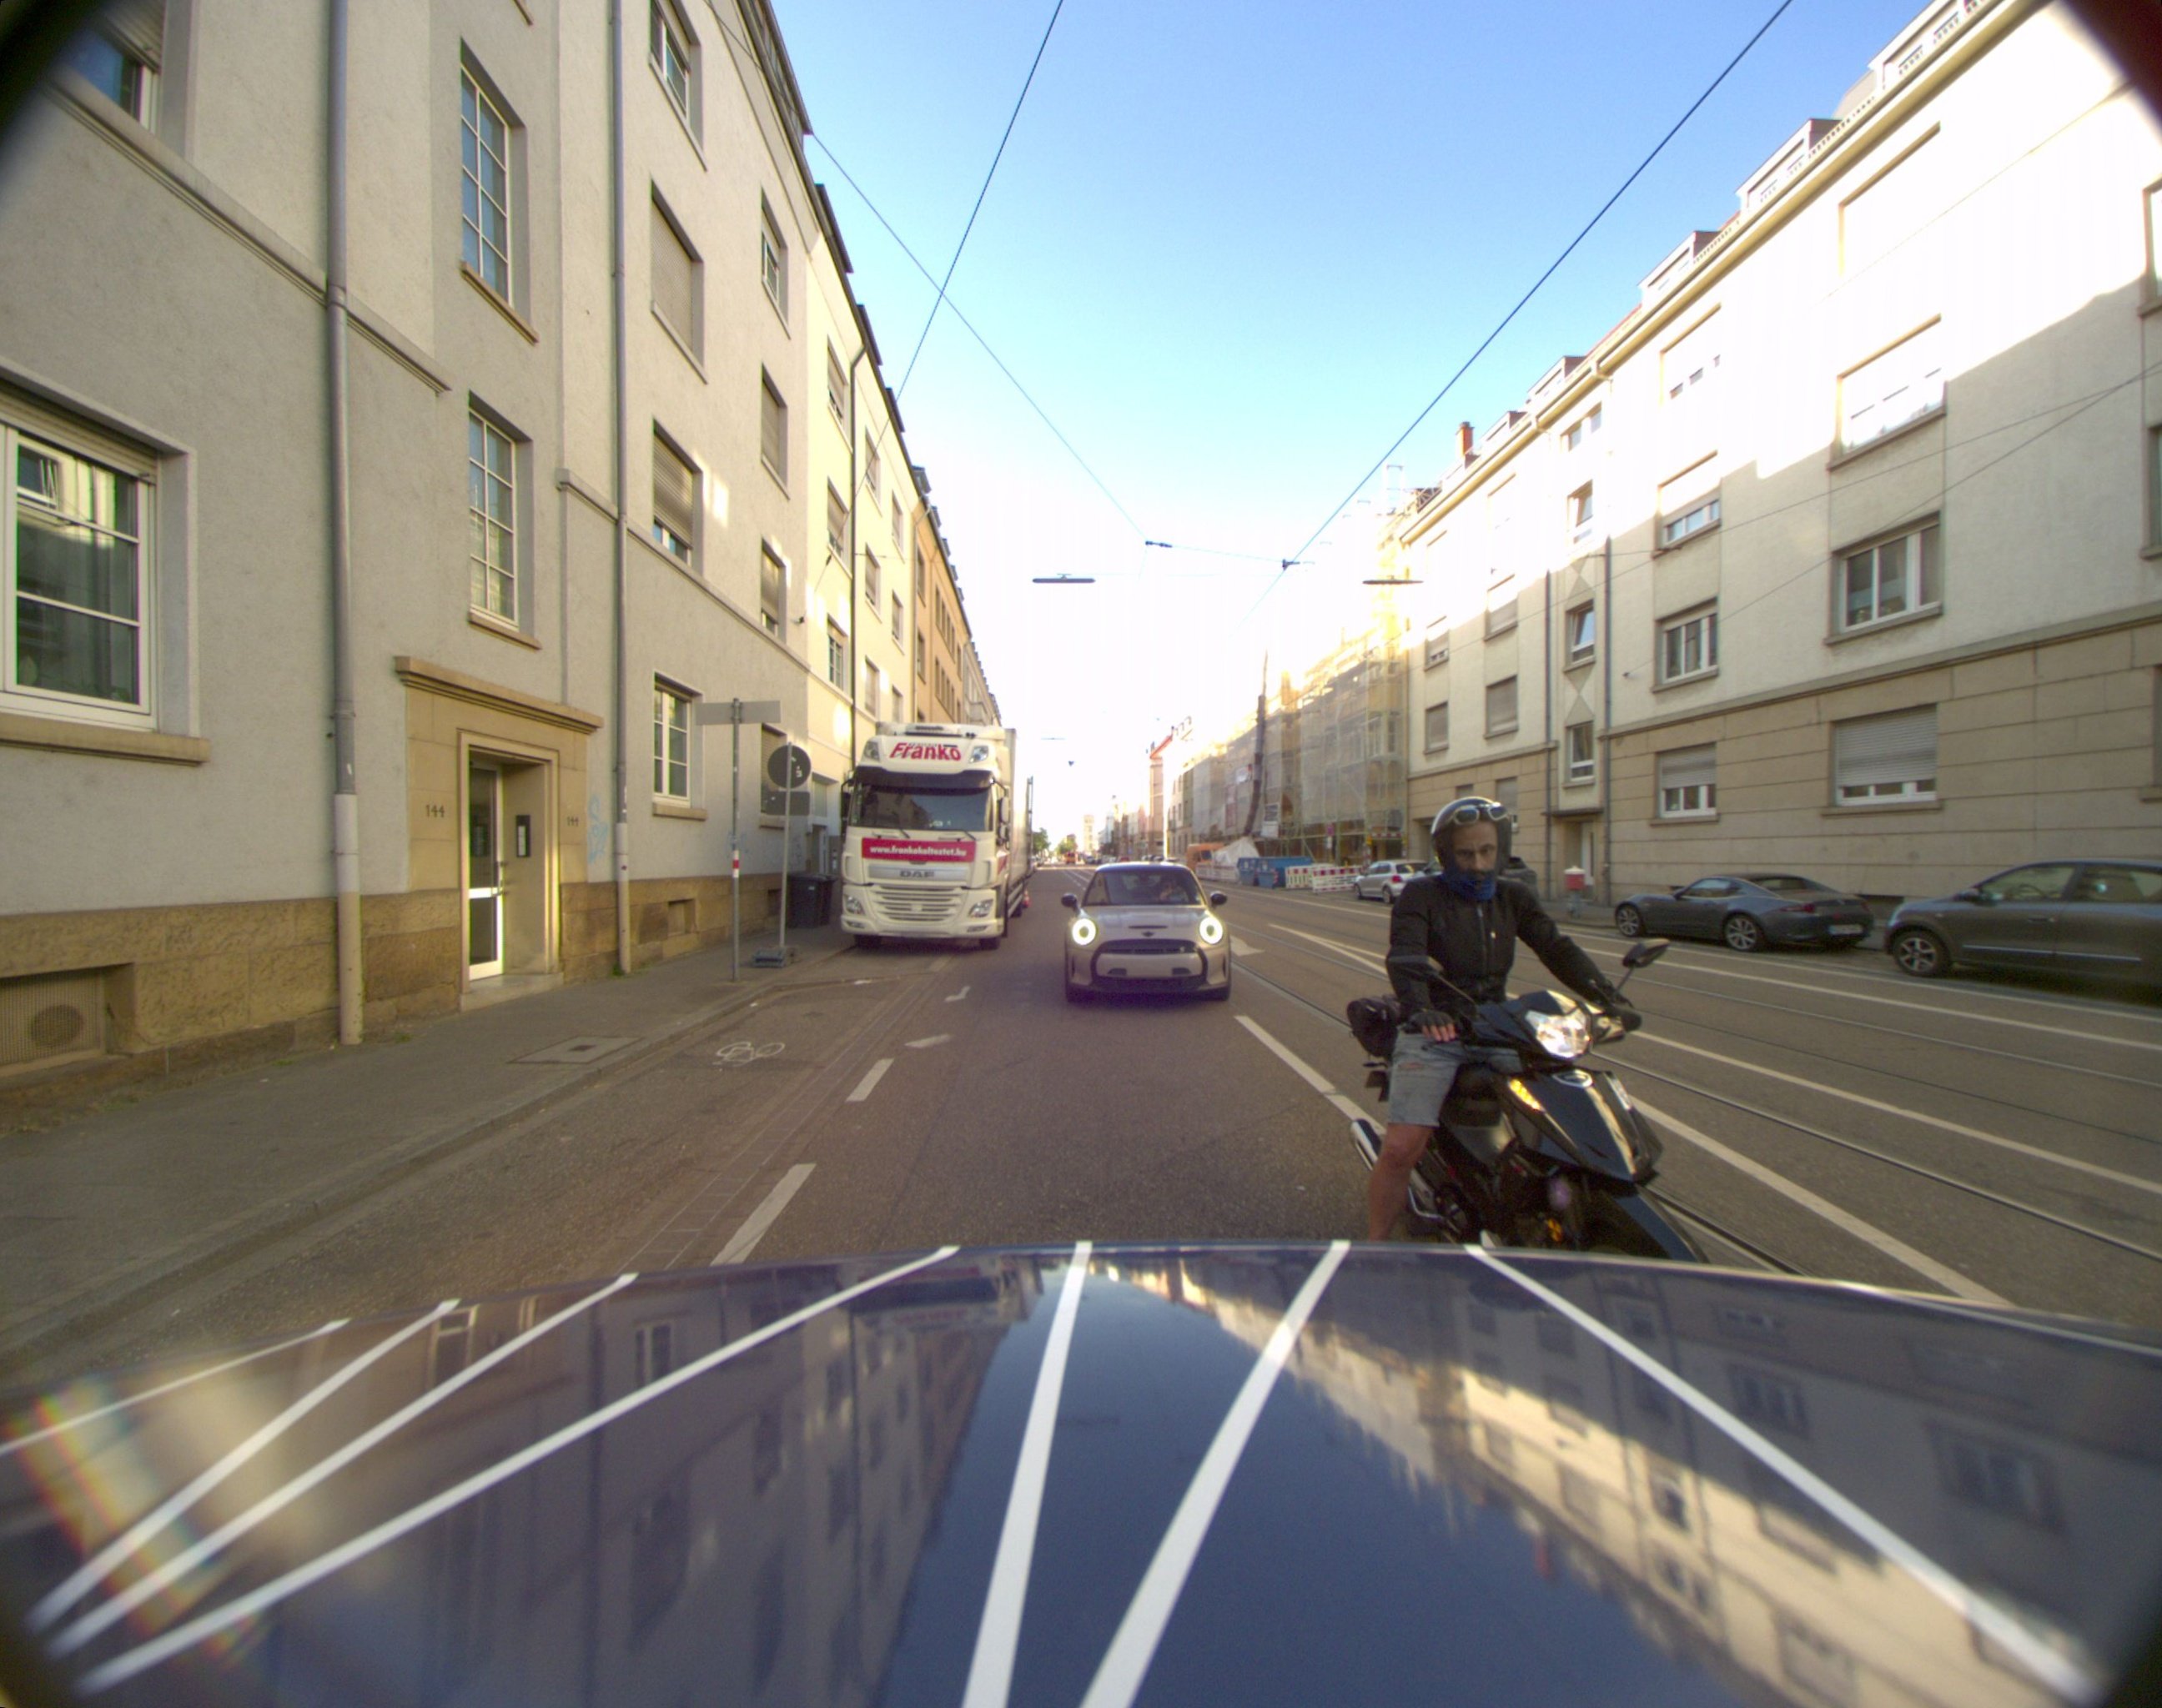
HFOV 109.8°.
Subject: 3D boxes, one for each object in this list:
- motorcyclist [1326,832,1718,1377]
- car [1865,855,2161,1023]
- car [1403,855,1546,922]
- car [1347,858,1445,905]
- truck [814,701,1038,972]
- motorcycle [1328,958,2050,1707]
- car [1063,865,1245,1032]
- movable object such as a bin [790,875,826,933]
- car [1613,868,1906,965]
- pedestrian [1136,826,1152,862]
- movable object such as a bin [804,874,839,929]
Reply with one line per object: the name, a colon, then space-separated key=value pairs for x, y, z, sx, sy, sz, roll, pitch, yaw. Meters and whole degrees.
motorcyclist: x=1.326 y=0.700 z=2.412 sx=0.862 sy=1.496 sz=0.598 roll=-2 pitch=1 yaw=1
car: x=11.380 y=0.841 z=8.427 sx=1.670 sy=1.563 sz=3.496 roll=-2 pitch=1 yaw=-2
car: x=10.836 y=0.869 z=21.305 sx=1.712 sy=1.582 sz=4.112 roll=-2 pitch=1 yaw=-3
car: x=10.636 y=0.870 z=25.915 sx=1.637 sy=1.383 sz=3.643 roll=-2 pitch=1 yaw=-3
truck: x=-2.619 y=-0.253 z=17.155 sx=2.899 sy=3.939 sz=11.704 roll=-2 pitch=0 yaw=-2
motorcycle: x=1.325 y=1.067 z=2.235 sx=0.538 sy=1.212 sz=1.981 roll=-2 pitch=1 yaw=1
car: x=0.672 y=0.905 z=9.055 sx=1.692 sy=1.495 sz=4.000 roll=0 pitch=0 yaw=0
movable object such as a bin: x=-5.397 y=0.980 z=15.020 sx=0.512 sy=1.085 sz=0.495 roll=-2 pitch=1 yaw=-4
car: x=11.237 y=0.947 z=12.940 sx=1.751 sy=1.269 sz=3.488 roll=-2 pitch=1 yaw=-4
pedestrian: x=7.793 y=-1.288 z=94.343 sx=1.723 sy=4.377 sz=1.153 roll=-2 pitch=1 yaw=2
movable object such as a bin: x=-5.345 y=0.971 z=15.672 sx=0.512 sy=1.085 sz=0.495 roll=-2 pitch=1 yaw=-4
